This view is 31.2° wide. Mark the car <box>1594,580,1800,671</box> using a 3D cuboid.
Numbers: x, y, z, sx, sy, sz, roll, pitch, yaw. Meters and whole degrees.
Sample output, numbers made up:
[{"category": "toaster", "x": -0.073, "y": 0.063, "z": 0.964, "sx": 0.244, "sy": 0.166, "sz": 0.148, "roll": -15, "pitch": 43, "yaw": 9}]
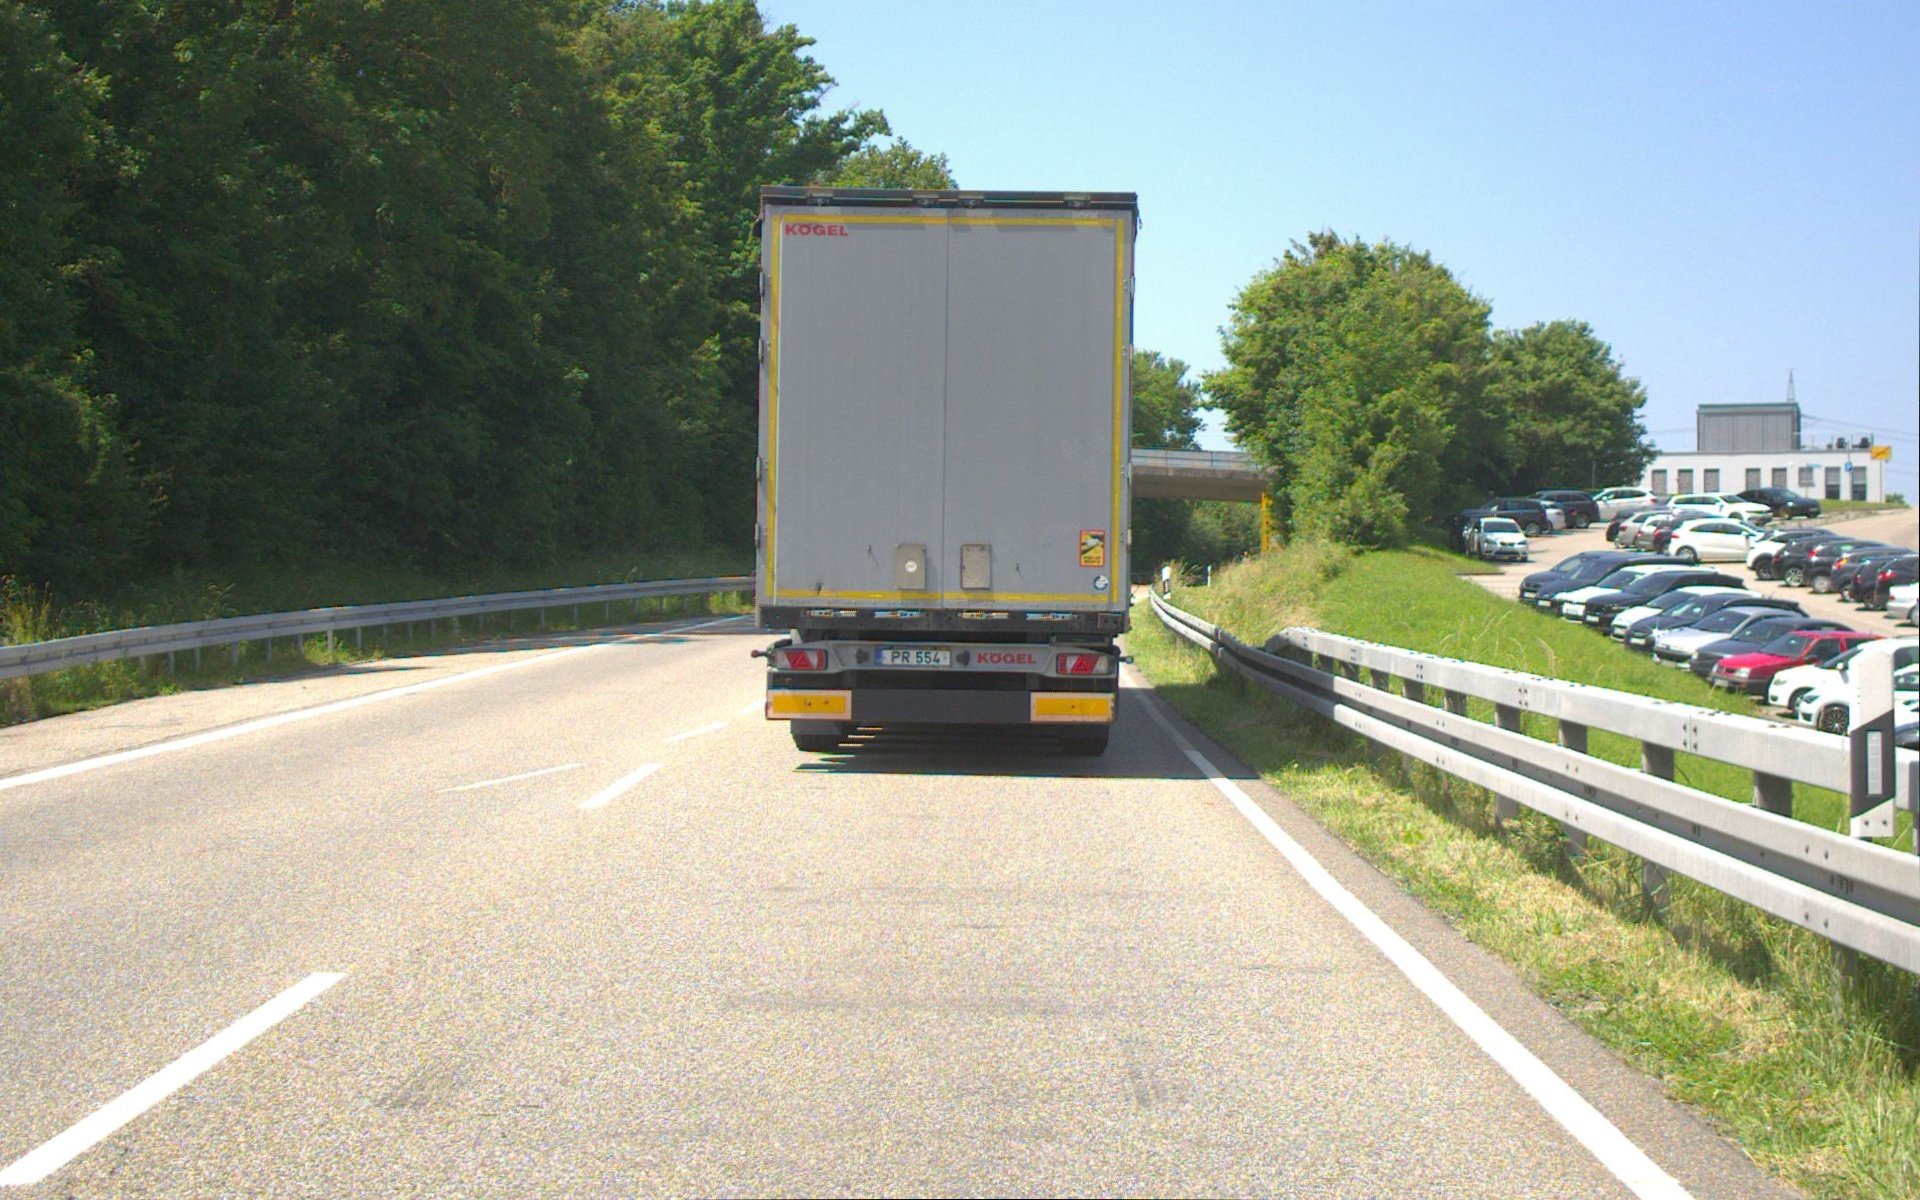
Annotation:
[{"category": "car", "x": 16.520, "y": 0.581, "z": 77.017, "sx": 4.363, "sy": 1.679, "sz": 1.888, "roll": 3, "pitch": 4, "yaw": -35}]

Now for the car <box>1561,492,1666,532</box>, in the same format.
[{"category": "car", "x": 29.584, "y": -3.996, "z": 155.681, "sx": 4.362, "sy": 1.679, "sz": 1.889, "roll": 0, "pitch": 5, "yaw": -26}]

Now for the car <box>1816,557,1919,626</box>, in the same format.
[{"category": "car", "x": 26.216, "y": -0.154, "z": 94.878, "sx": 4.580, "sy": 1.623, "sz": 1.818, "roll": 7, "pitch": 4, "yaw": 28}]

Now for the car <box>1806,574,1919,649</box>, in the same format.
[{"category": "car", "x": 24.600, "y": 0.370, "z": 89.445, "sx": 4.580, "sy": 1.623, "sz": 1.818, "roll": 7, "pitch": 4, "yaw": 28}]

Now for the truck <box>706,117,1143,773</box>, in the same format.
[{"category": "truck", "x": -0.289, "y": -1.111, "z": 27.896, "sx": 2.866, "sy": 4.344, "sz": 9.789, "roll": 1, "pitch": 1, "yaw": -1}]

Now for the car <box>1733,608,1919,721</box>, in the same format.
[{"category": "car", "x": 16.942, "y": 1.234, "z": 64.296, "sx": 4.451, "sy": 1.679, "sz": 1.886, "roll": 7, "pitch": 3, "yaw": 24}]

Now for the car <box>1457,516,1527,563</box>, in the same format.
[{"category": "car", "x": 18.308, "y": -2.090, "z": 118.424, "sx": 1.624, "sy": 1.349, "sz": 3.711, "roll": 5, "pitch": 3, "yaw": -2}]

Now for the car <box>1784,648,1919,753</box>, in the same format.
[{"category": "car", "x": 17.098, "y": 1.874, "z": 60.935, "sx": 4.371, "sy": 1.553, "sz": 1.885, "roll": 7, "pitch": 4, "yaw": 31}]

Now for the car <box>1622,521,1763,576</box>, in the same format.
[{"category": "car", "x": 26.145, "y": -1.845, "z": 122.711, "sx": 4.577, "sy": 1.623, "sz": 1.818, "roll": 4, "pitch": 3, "yaw": 23}]

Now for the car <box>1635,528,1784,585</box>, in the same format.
[{"category": "car", "x": 25.344, "y": -1.492, "z": 116.270, "sx": 4.577, "sy": 1.623, "sz": 1.818, "roll": 4, "pitch": 2, "yaw": 23}]

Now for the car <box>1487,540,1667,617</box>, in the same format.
[{"category": "car", "x": 16.630, "y": -0.570, "z": 92.664, "sx": 4.362, "sy": 1.679, "sz": 1.889, "roll": 4, "pitch": 3, "yaw": -26}]

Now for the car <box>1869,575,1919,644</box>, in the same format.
[{"category": "car", "x": 25.502, "y": 0.412, "z": 86.606, "sx": 4.580, "sy": 1.623, "sz": 1.818, "roll": 7, "pitch": 4, "yaw": 28}]

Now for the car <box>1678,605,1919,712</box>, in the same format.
[{"category": "car", "x": 16.608, "y": 1.149, "z": 67.678, "sx": 4.361, "sy": 1.679, "sz": 1.889, "roll": 4, "pitch": 3, "yaw": -20}]

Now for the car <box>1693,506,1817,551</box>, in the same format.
[{"category": "car", "x": 32.612, "y": -2.944, "z": 141.086, "sx": 4.581, "sy": 1.623, "sz": 1.817, "roll": 3, "pitch": 1, "yaw": 36}]

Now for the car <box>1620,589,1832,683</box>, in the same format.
[{"category": "car", "x": 16.600, "y": 0.792, "z": 74.474, "sx": 4.363, "sy": 1.679, "sz": 1.888, "roll": 3, "pitch": 4, "yaw": -35}]

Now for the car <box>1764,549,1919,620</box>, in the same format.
[{"category": "car", "x": 26.064, "y": -0.465, "z": 100.454, "sx": 4.580, "sy": 1.623, "sz": 1.818, "roll": 7, "pitch": 4, "yaw": 28}]

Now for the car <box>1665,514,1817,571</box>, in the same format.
[{"category": "car", "x": 25.744, "y": -1.903, "z": 113.348, "sx": 4.577, "sy": 1.623, "sz": 1.818, "roll": 4, "pitch": 2, "yaw": 23}]

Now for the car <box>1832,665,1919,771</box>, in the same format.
[{"category": "car", "x": 17.027, "y": 2.128, "z": 57.408, "sx": 4.370, "sy": 1.553, "sz": 1.885, "roll": 7, "pitch": 3, "yaw": 26}]

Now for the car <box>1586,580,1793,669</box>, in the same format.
[{"category": "car", "x": 17.050, "y": 0.582, "z": 80.355, "sx": 4.362, "sy": 1.679, "sz": 1.889, "roll": 4, "pitch": 3, "yaw": -26}]

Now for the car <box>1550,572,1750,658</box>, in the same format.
[{"category": "car", "x": 16.734, "y": 0.366, "z": 83.365, "sx": 4.362, "sy": 1.679, "sz": 1.889, "roll": 4, "pitch": 3, "yaw": -26}]

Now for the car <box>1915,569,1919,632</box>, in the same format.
[{"category": "car", "x": 25.628, "y": 0.034, "z": 83.069, "sx": 4.580, "sy": 1.514, "sz": 1.818, "roll": 3, "pitch": 6, "yaw": 32}]

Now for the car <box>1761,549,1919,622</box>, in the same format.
[{"category": "car", "x": 25.426, "y": -0.424, "z": 98.075, "sx": 4.580, "sy": 1.623, "sz": 1.818, "roll": 7, "pitch": 4, "yaw": 28}]

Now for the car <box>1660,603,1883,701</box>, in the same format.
[{"category": "car", "x": 16.727, "y": 1.085, "z": 70.799, "sx": 4.363, "sy": 1.679, "sz": 1.888, "roll": 3, "pitch": 4, "yaw": -35}]

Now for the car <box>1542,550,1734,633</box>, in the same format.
[{"category": "car", "x": 17.050, "y": -0.205, "z": 86.461, "sx": 4.362, "sy": 1.679, "sz": 1.889, "roll": 4, "pitch": 3, "yaw": -26}]

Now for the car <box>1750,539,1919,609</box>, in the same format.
[{"category": "car", "x": 26.321, "y": -0.802, "z": 103.362, "sx": 4.580, "sy": 1.623, "sz": 1.818, "roll": 7, "pitch": 4, "yaw": 28}]

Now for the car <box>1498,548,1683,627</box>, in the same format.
[{"category": "car", "x": 16.480, "y": -0.324, "z": 89.879, "sx": 4.362, "sy": 1.679, "sz": 1.889, "roll": 4, "pitch": 3, "yaw": -26}]

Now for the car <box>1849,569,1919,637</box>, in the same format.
[{"category": "car", "x": 26.340, "y": 0.214, "z": 91.852, "sx": 4.580, "sy": 1.623, "sz": 1.818, "roll": 7, "pitch": 4, "yaw": 28}]

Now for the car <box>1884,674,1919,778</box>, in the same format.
[{"category": "car", "x": 17.191, "y": 2.224, "z": 54.760, "sx": 4.370, "sy": 1.553, "sz": 1.885, "roll": 7, "pitch": 3, "yaw": 26}]
